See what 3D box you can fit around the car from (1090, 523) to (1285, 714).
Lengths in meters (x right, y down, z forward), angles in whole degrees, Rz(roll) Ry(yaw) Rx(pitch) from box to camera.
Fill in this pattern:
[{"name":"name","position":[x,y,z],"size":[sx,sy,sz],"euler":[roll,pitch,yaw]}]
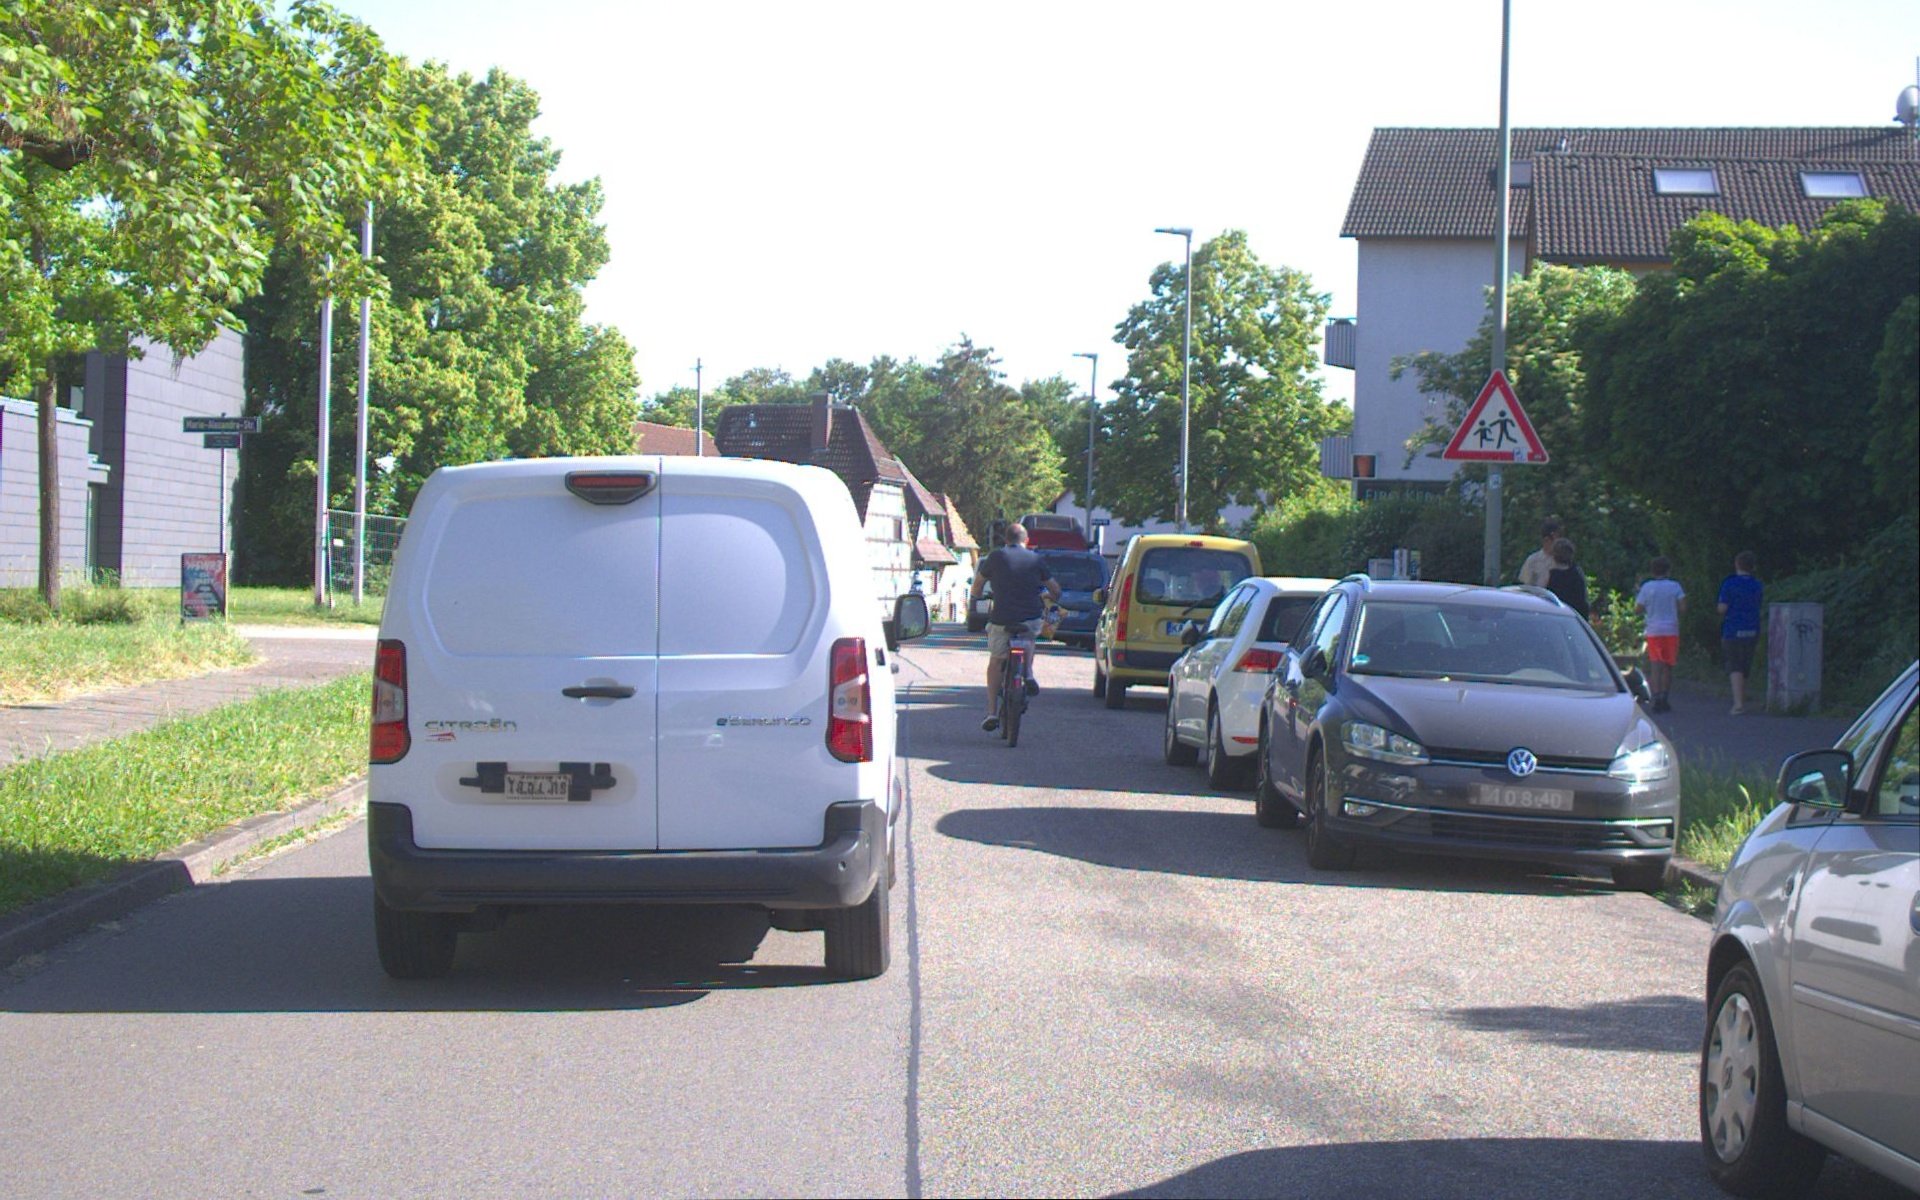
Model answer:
[{"name":"car","position":[2.329,0.171,36.041],"size":[1.724,1.831,4.000],"euler":[2,0,0]}]

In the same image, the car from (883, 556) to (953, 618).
[{"name":"car","position":[-1.335,-0.401,111.782],"size":[1.804,1.836,3.999],"euler":[4,0,5]}]

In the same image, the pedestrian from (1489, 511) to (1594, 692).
[{"name":"pedestrian","position":[6.118,0.012,36.189],"size":[0.793,1.855,0.874],"euler":[2,0,-8]}]

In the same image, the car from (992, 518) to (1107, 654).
[{"name":"car","position":[1.770,-0.270,69.508],"size":[1.866,2.554,4.768],"euler":[4,0,-2]}]

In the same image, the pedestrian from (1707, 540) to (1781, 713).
[{"name":"pedestrian","position":[7.501,0.249,32.915],"size":[0.567,1.631,0.546],"euler":[2,1,5]}]

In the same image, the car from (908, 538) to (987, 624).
[{"name":"car","position":[-0.349,-0.477,89.625],"size":[1.804,2.061,4.000],"euler":[4,0,-2]}]

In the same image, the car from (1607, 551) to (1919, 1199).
[{"name":"car","position":[2.773,0.758,7.240],"size":[1.679,1.594,4.029],"euler":[4,0,-4]}]

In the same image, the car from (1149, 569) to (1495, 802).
[{"name":"car","position":[2.458,0.536,24.284],"size":[1.826,1.447,4.000],"euler":[2,0,-2]}]

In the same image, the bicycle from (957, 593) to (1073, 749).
[{"name":"bicycle","position":[0.426,0.544,27.588],"size":[0.787,1.135,2.280],"euler":[2,1,-2]}]

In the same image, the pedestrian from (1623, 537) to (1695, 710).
[{"name":"pedestrian","position":[6.720,0.223,33.055],"size":[0.567,1.631,0.546],"euler":[2,1,5]}]

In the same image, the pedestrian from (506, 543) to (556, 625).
[{"name":"pedestrian","position":[-7.822,-0.288,62.717],"size":[0.510,1.441,0.638],"euler":[5,1,32]}]

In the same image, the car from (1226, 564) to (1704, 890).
[{"name":"car","position":[2.534,0.572,18.279],"size":[1.807,1.438,4.363],"euler":[2,1,-1]}]

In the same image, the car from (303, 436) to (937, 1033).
[{"name":"car","position":[-1.114,0.397,13.259],"size":[1.993,1.875,4.289],"euler":[2,1,0]}]

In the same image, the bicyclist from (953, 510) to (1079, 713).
[{"name":"bicyclist","position":[0.442,0.093,27.692],"size":[0.905,1.579,0.966],"euler":[2,0,-2]}]

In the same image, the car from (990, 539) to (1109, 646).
[{"name":"car","position":[1.595,-0.127,62.657],"size":[1.804,1.779,4.000],"euler":[4,0,-2]}]

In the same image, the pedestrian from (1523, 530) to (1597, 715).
[{"name":"pedestrian","position":[5.410,0.197,31.016],"size":[0.567,1.631,0.546],"euler":[2,1,5]}]
